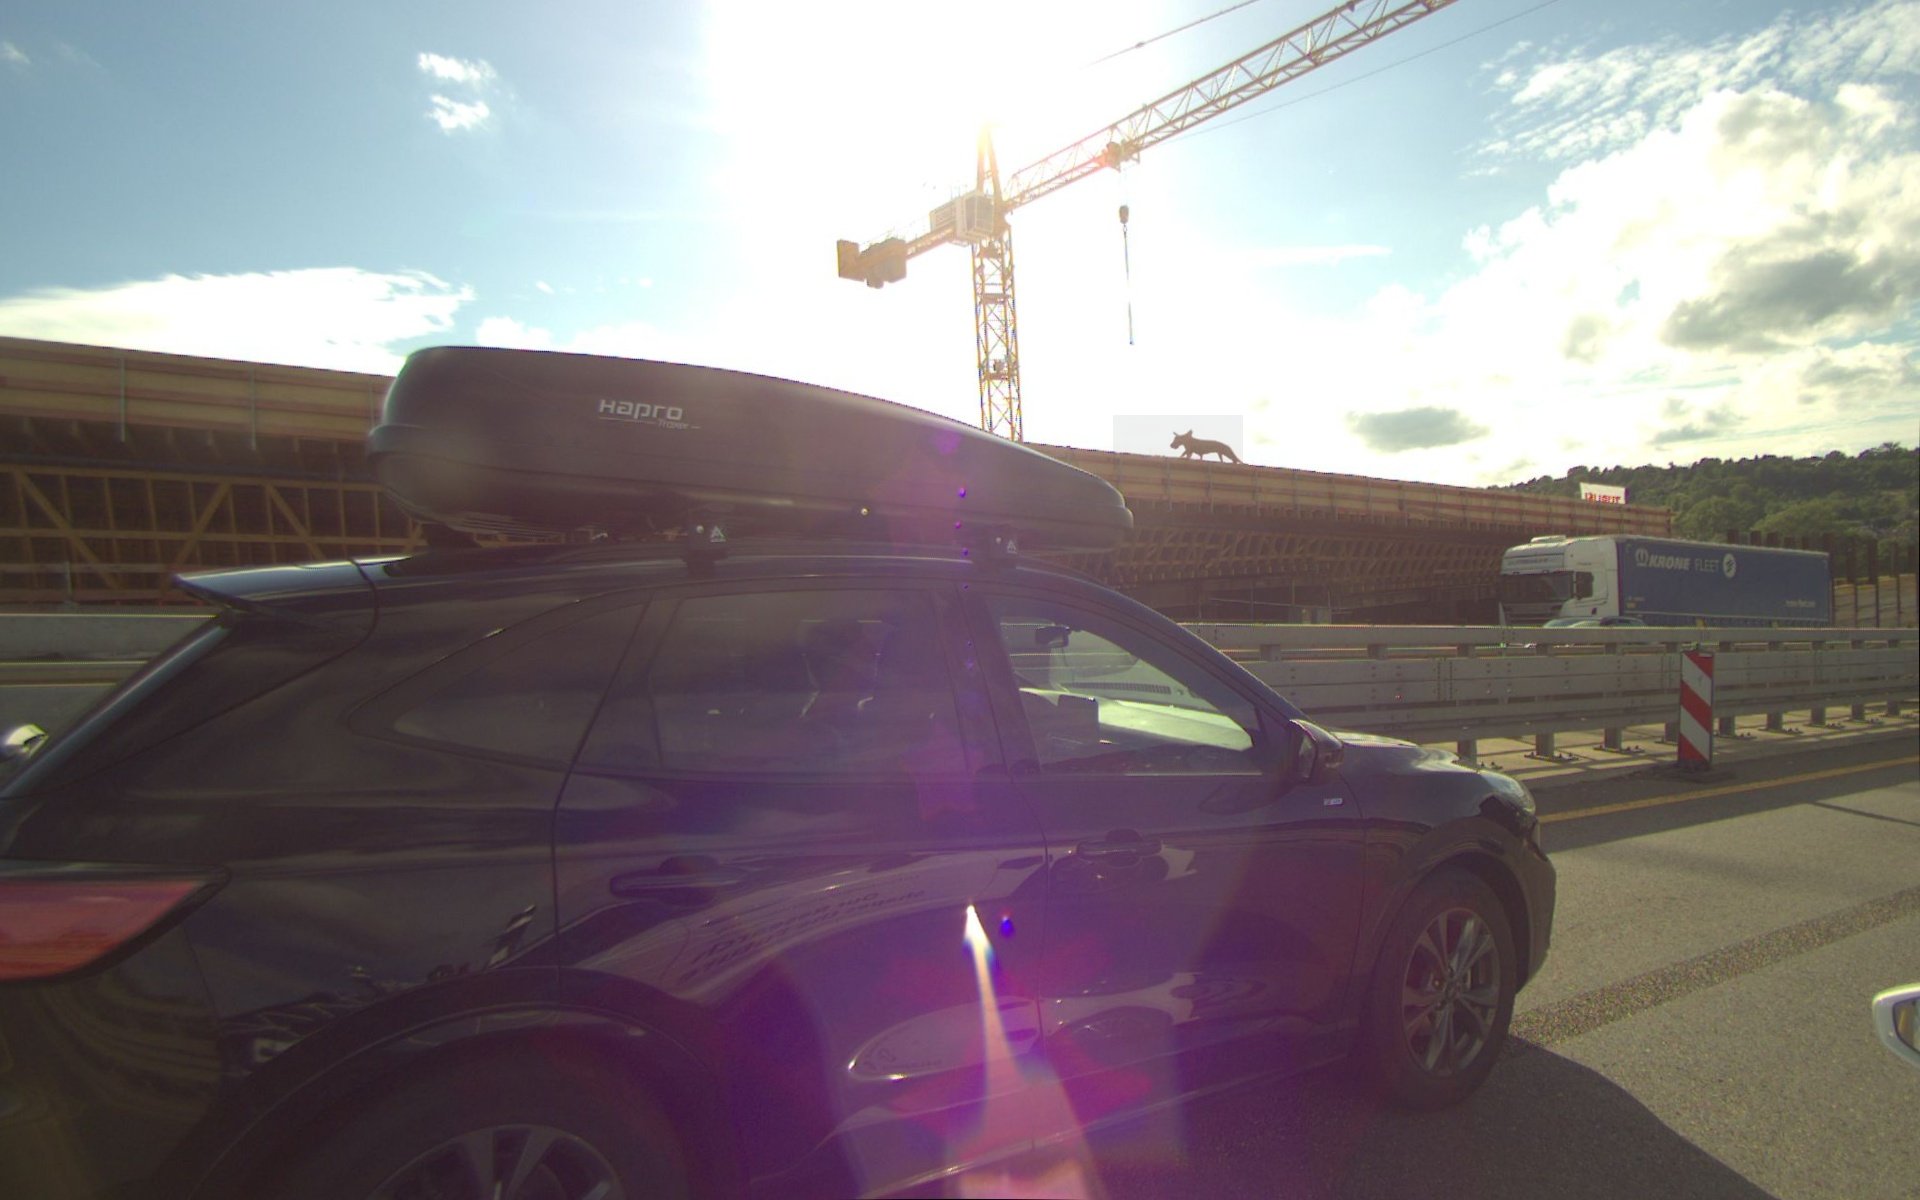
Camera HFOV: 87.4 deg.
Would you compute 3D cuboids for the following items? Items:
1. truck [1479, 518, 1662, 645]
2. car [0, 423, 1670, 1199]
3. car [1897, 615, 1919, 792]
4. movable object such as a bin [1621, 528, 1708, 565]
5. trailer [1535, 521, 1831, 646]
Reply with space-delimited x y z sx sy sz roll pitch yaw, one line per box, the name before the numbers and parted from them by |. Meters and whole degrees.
truck | 19.220 -0.500 31.642 4.750 3.677 2.831 2 0 -28
car | -0.008 0.595 2.998 4.333 1.563 1.791 2 1 -30
car | 10.482 0.946 9.072 4.464 1.510 1.762 2 -2 -30
movable object such as a bin | 72.299 -5.410 103.228 4.438 3.314 5.743 2 0 -17
trailer | 25.496 -0.359 35.042 13.362 3.715 2.850 2 0 -29
